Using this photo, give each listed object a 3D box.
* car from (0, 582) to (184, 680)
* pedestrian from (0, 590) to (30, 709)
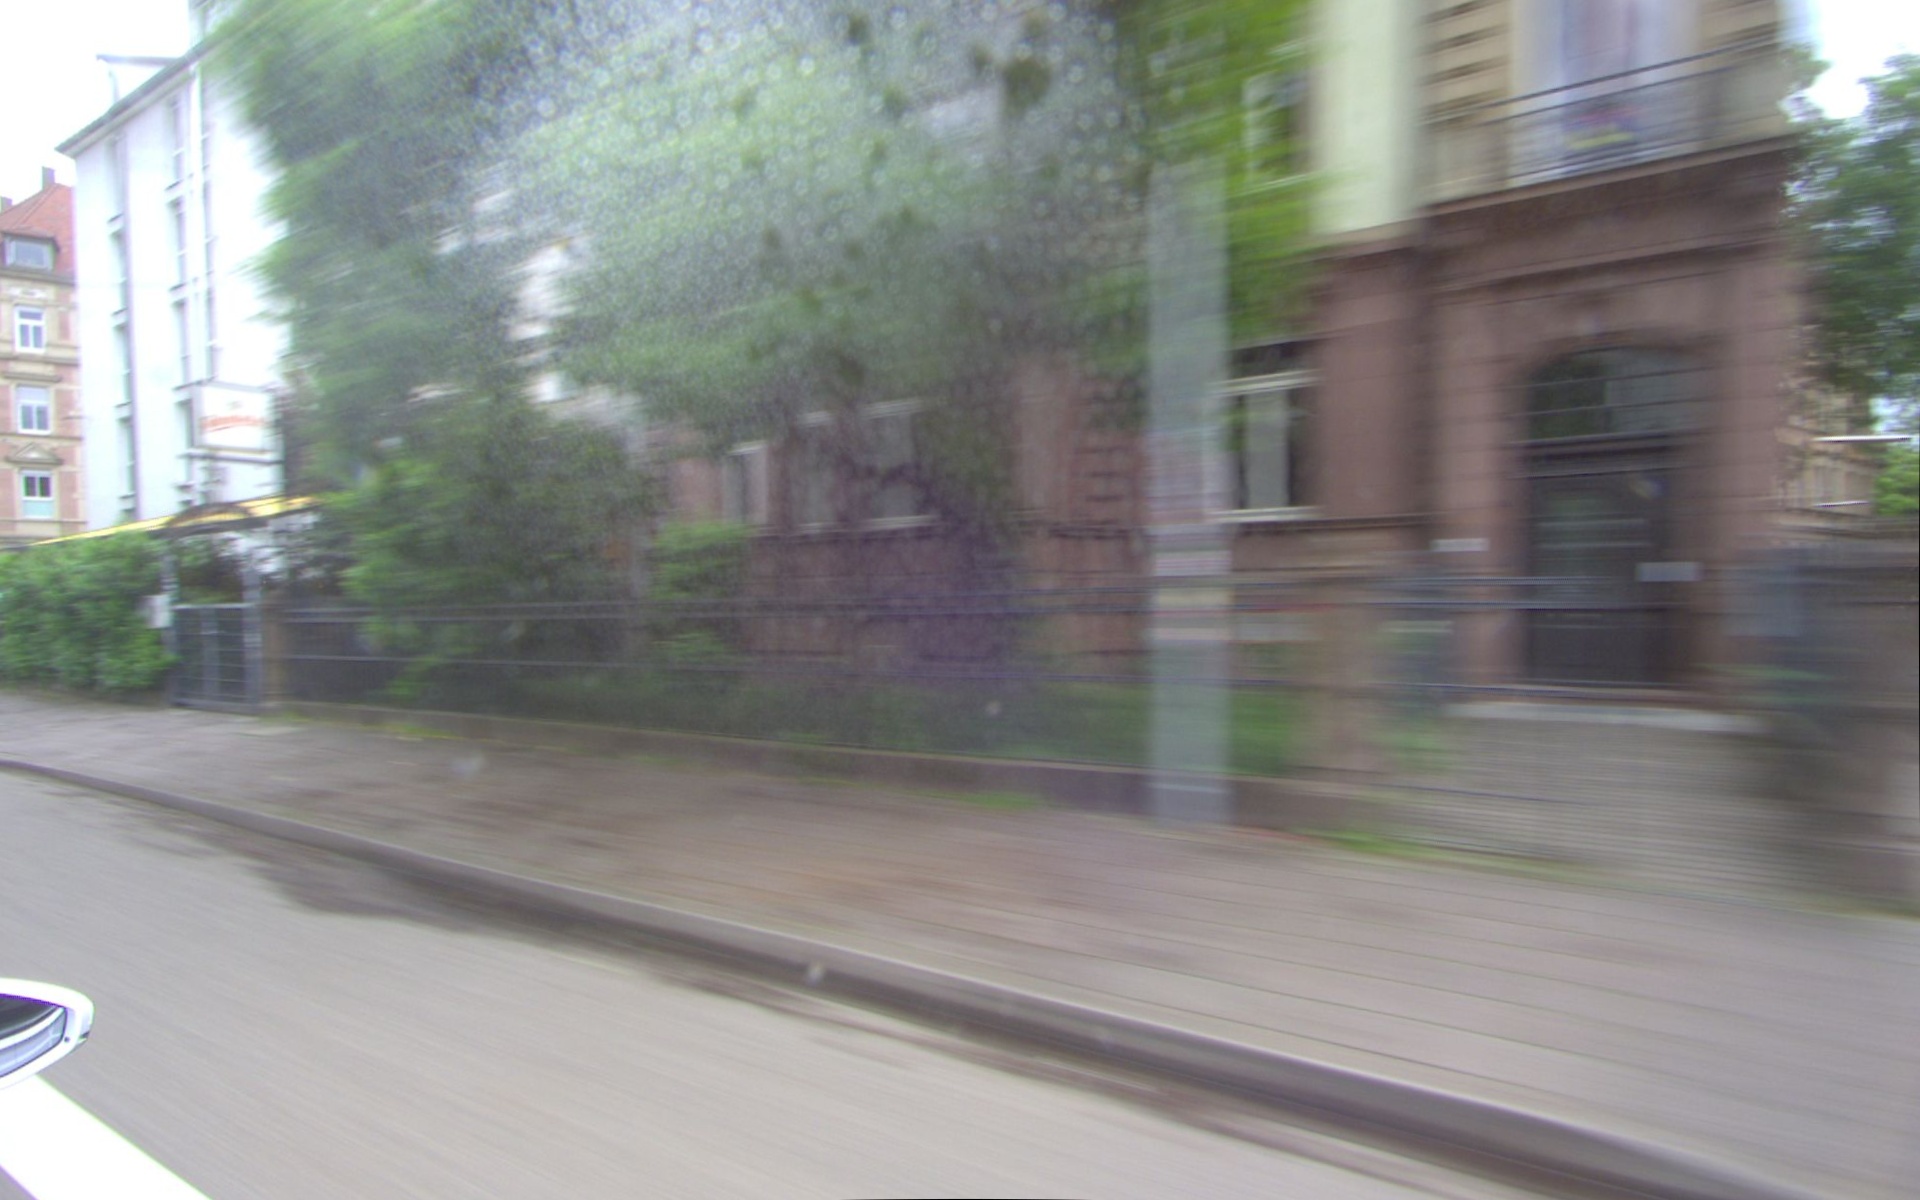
[{"bbox_3d":[-18.584,0.591,20.204,1.798,1.834,4.267,0,2,34],"label":"car"},{"bbox_3d":[-14.183,0.714,14.572,0.946,1.695,0.621,0,4,32],"label":"pedestrian"}]
